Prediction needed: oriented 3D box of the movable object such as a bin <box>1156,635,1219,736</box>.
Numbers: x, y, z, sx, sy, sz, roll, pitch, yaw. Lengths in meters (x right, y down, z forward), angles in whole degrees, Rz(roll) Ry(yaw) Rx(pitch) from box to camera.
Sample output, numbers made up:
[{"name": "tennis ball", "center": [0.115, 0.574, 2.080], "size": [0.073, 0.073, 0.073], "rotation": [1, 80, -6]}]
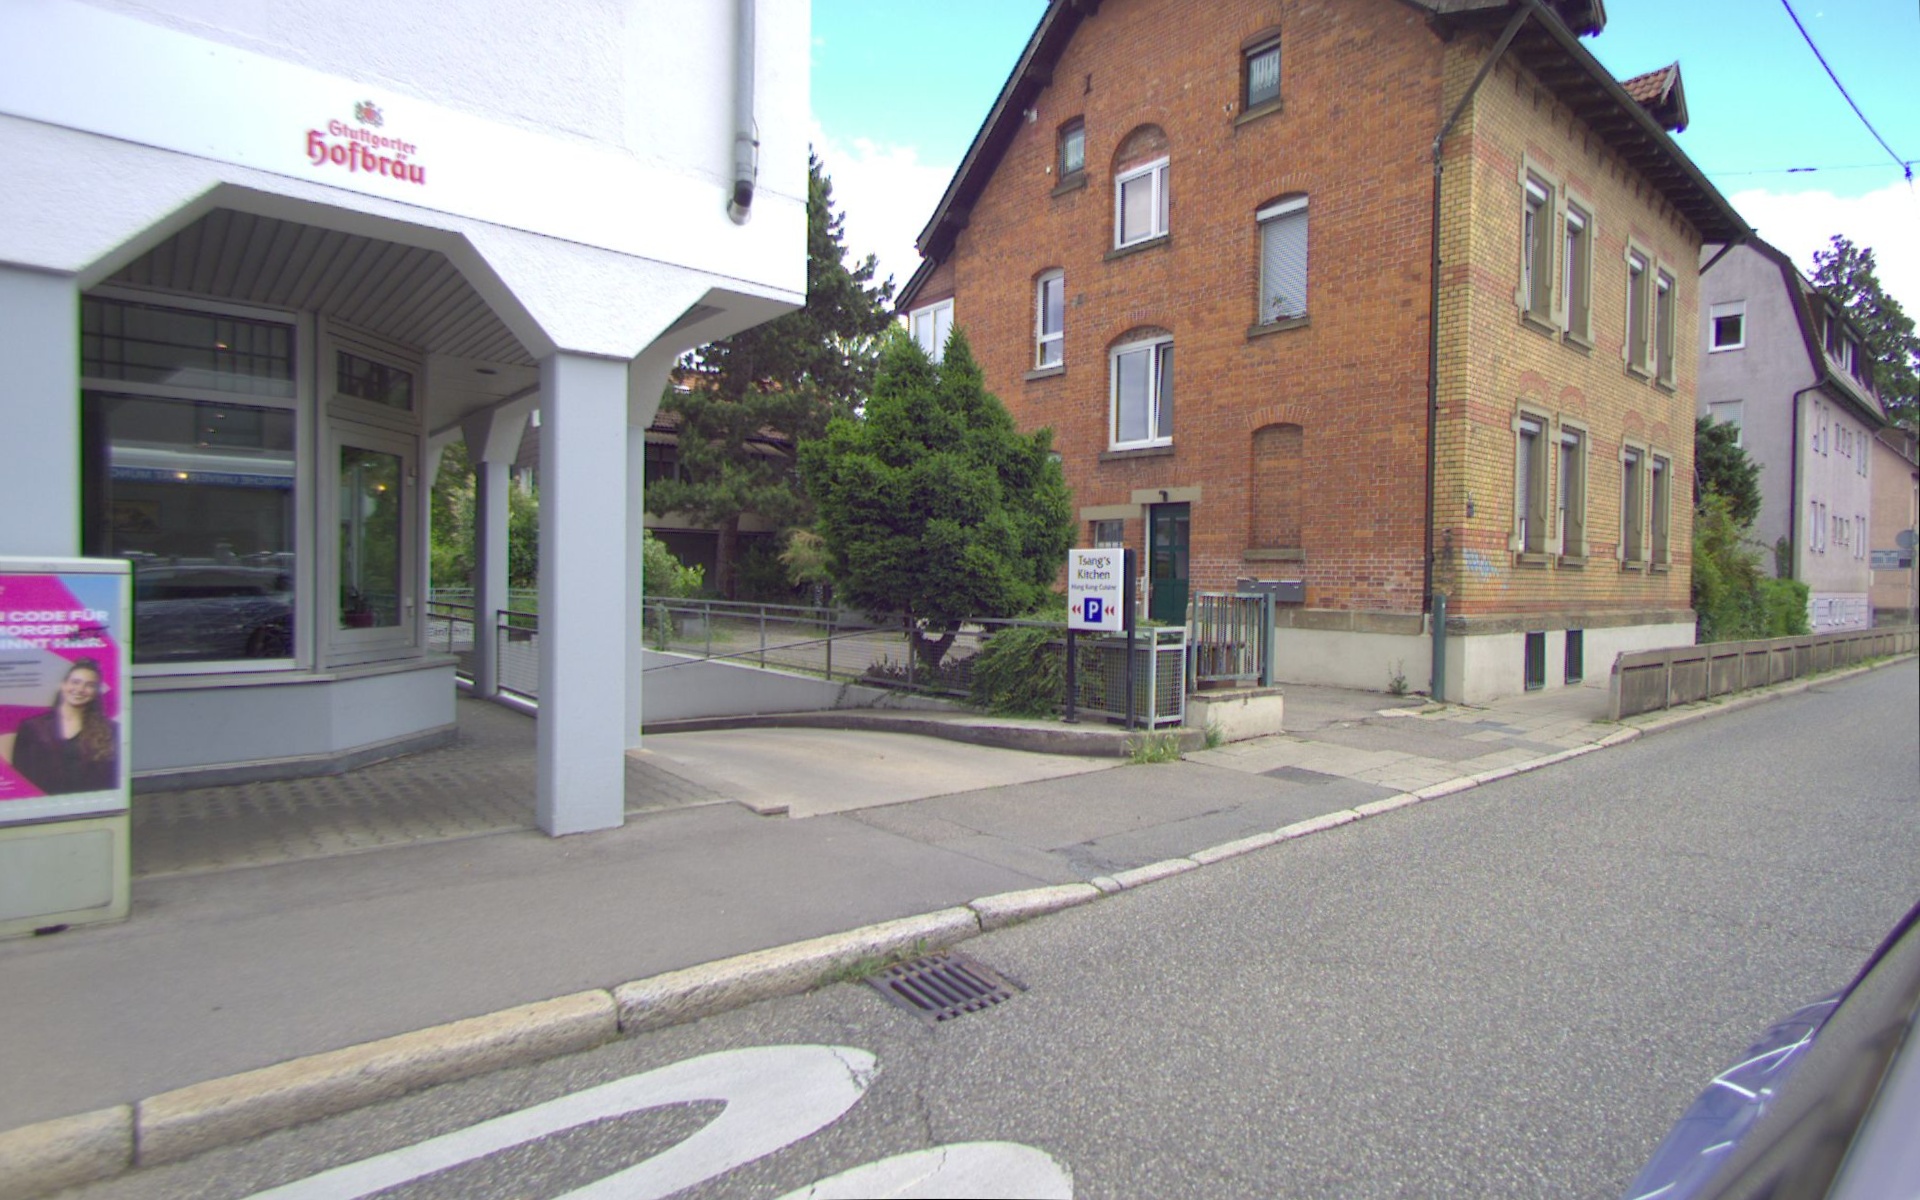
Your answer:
[{"name": "movable object such as a bin", "center": [2.212, 0.817, 9.850], "size": [0.448, 0.915, 0.398], "rotation": [0, 1, -41]}]

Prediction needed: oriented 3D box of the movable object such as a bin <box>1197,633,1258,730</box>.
[{"name": "movable object such as a bin", "center": [2.696, 0.810, 10.203], "size": [0.448, 0.915, 0.398], "rotation": [0, 1, -41]}]
